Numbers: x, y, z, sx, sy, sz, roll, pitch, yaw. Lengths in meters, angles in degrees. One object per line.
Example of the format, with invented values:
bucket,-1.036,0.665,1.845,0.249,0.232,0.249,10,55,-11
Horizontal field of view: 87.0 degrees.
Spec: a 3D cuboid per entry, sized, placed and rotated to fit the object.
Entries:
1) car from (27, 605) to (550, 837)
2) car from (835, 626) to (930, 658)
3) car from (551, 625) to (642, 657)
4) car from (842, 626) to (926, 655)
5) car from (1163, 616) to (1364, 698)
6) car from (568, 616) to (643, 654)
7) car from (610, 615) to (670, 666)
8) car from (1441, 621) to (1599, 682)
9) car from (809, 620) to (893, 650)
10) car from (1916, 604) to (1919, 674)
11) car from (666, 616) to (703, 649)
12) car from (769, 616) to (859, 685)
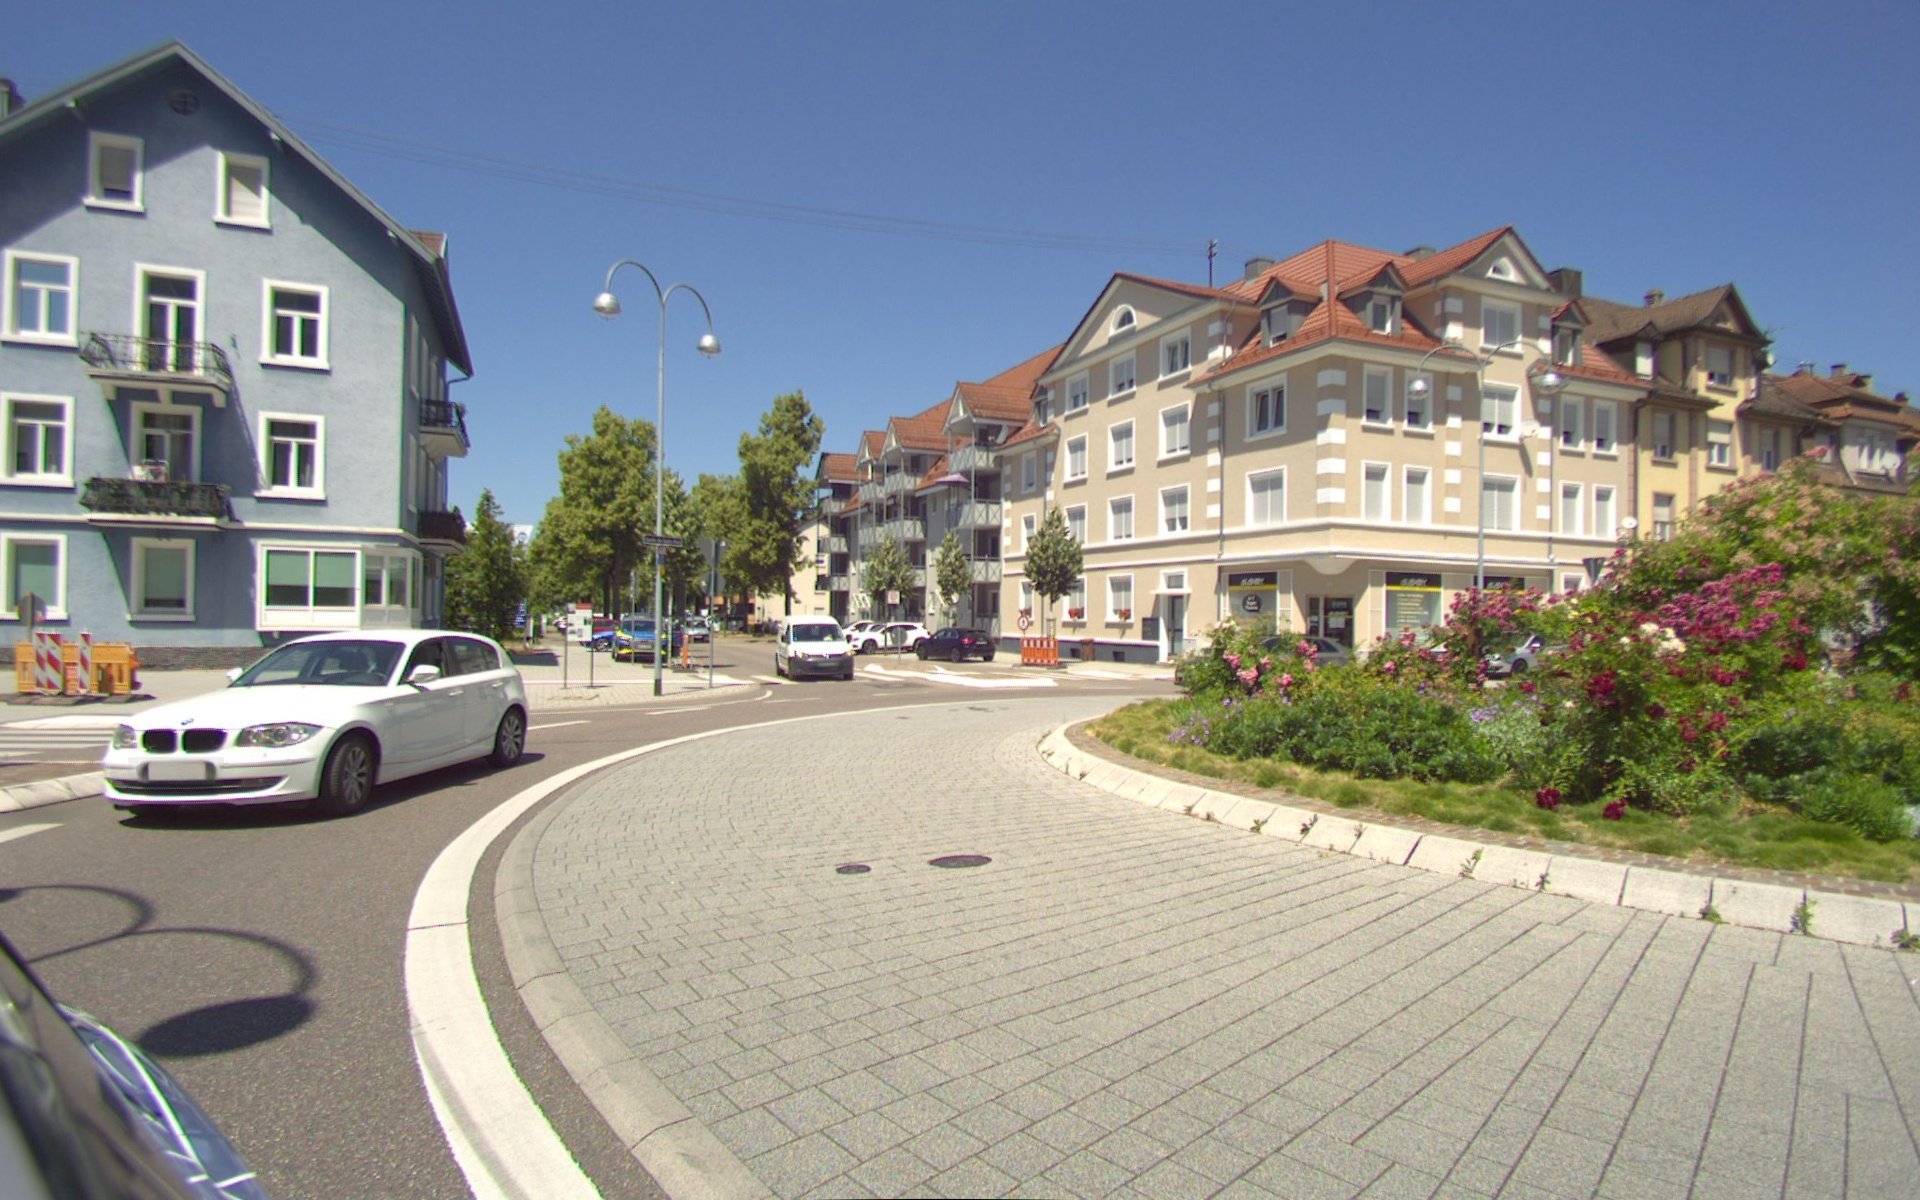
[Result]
car,-5.466,0.865,9.021,1.764,1.563,4.124,0,-1,3
car,-3.858,2.094,50.428,4.332,1.504,1.989,1,-2,-22
car,-17.130,1.938,47.710,3.962,1.369,1.667,1,2,-22
car,-4.033,2.145,53.455,4.011,1.504,1.989,1,-2,-22
car,7.013,1.296,23.741,4.187,1.791,1.780,0,1,3
car,-20.154,1.982,57.487,3.930,2.029,2.007,1,0,-21
car,-11.926,1.458,37.559,1.750,1.791,4.257,1,-1,-22
car,16.939,1.532,30.614,4.612,1.698,1.787,1,-1,-25
car,-6.143,1.982,57.068,4.297,1.683,1.989,1,-2,-22
car,38.013,1.504,37.222,6.129,2.552,2.159,1,0,-27
car,-18.532,2.160,68.006,1.965,2.029,4.013,1,0,-20
car,-4.233,1.374,28.786,1.750,1.791,4.257,1,-1,-19
